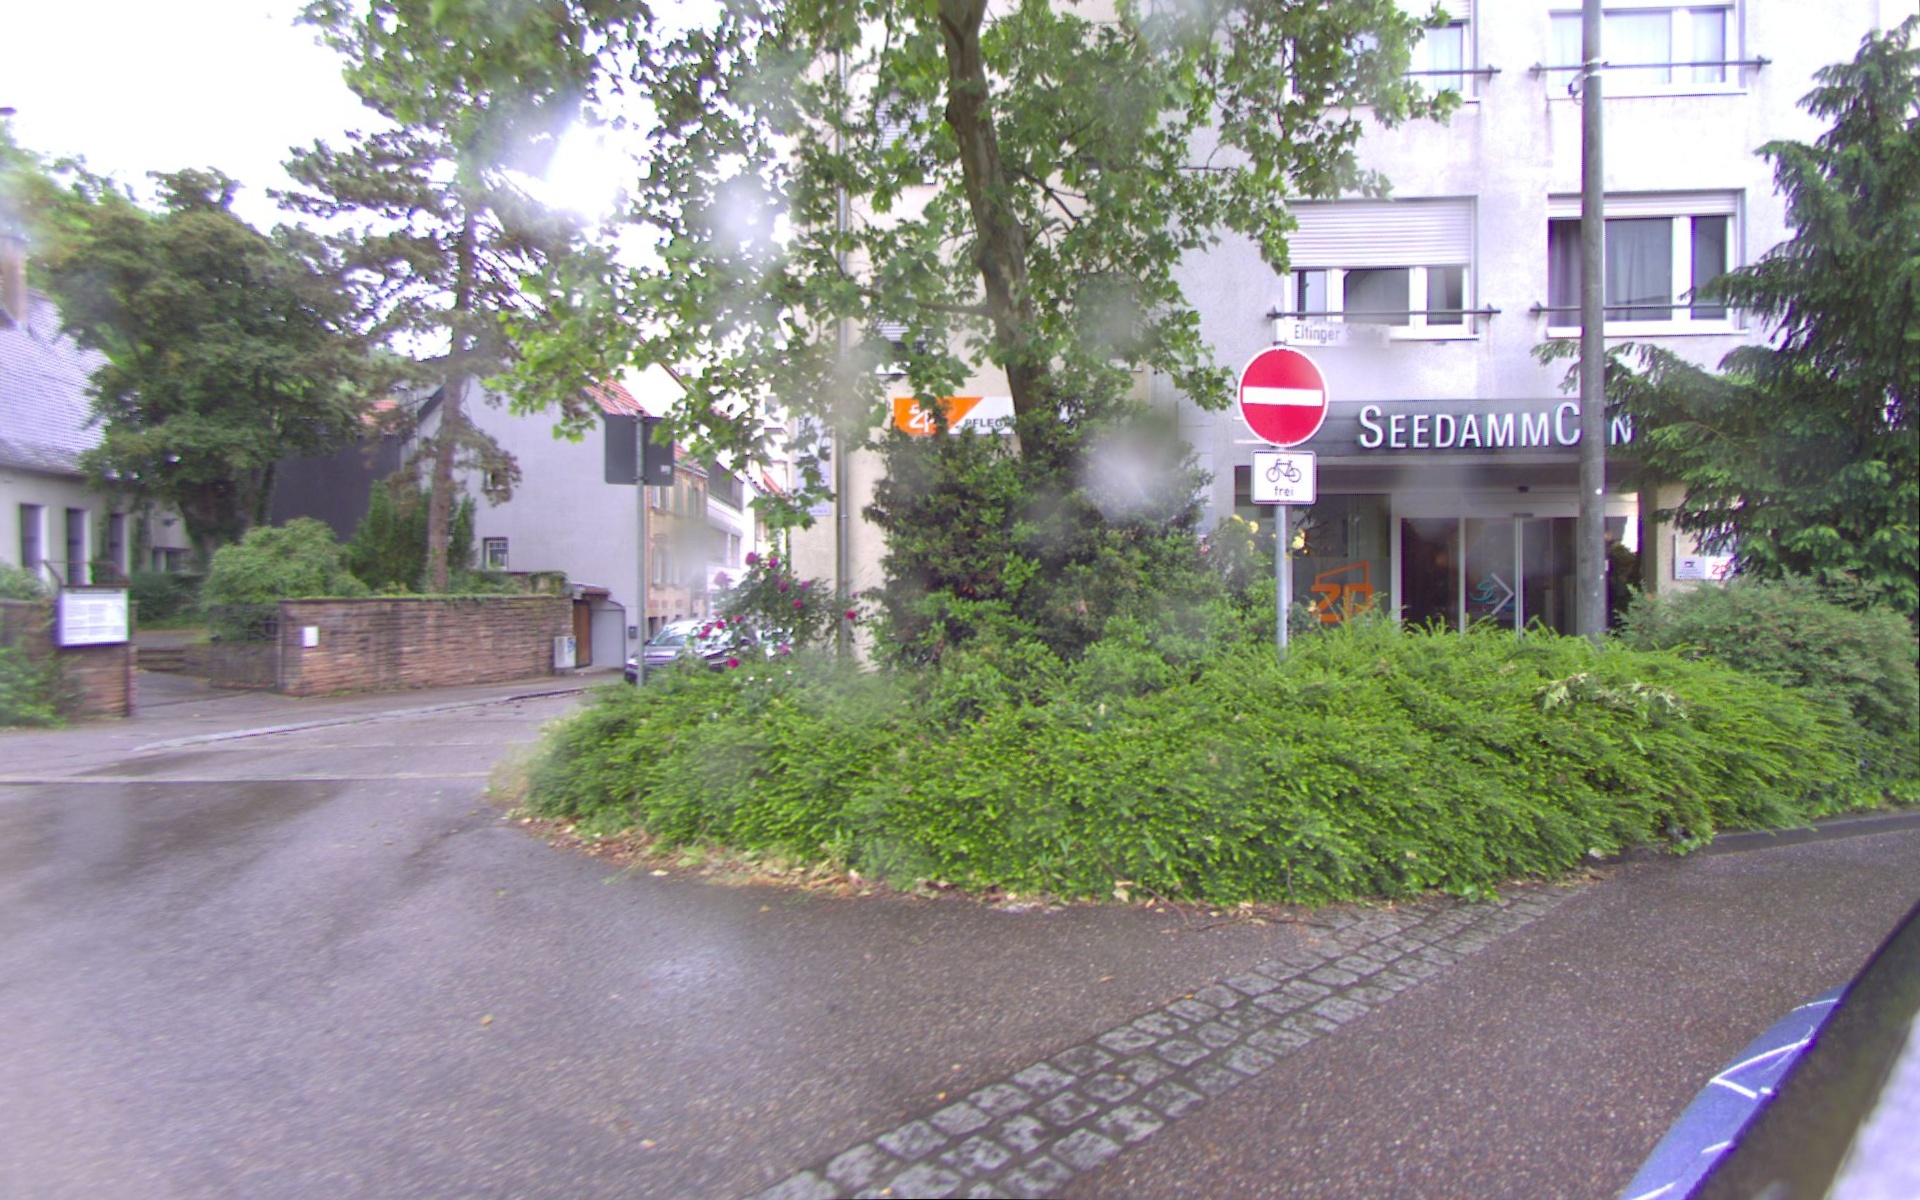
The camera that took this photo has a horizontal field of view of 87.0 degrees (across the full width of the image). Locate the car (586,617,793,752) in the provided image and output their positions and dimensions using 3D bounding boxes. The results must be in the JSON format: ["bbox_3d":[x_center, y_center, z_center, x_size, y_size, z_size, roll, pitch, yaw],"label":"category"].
[{"bbox_3d":[-4.520,1.328,17.612,1.968,1.670,3.993,9,1,6],"label":"car"}]

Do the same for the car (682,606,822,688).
[{"bbox_3d":[-4.347,0.938,21.808,1.964,1.594,3.995,0,0,4],"label":"car"}]
